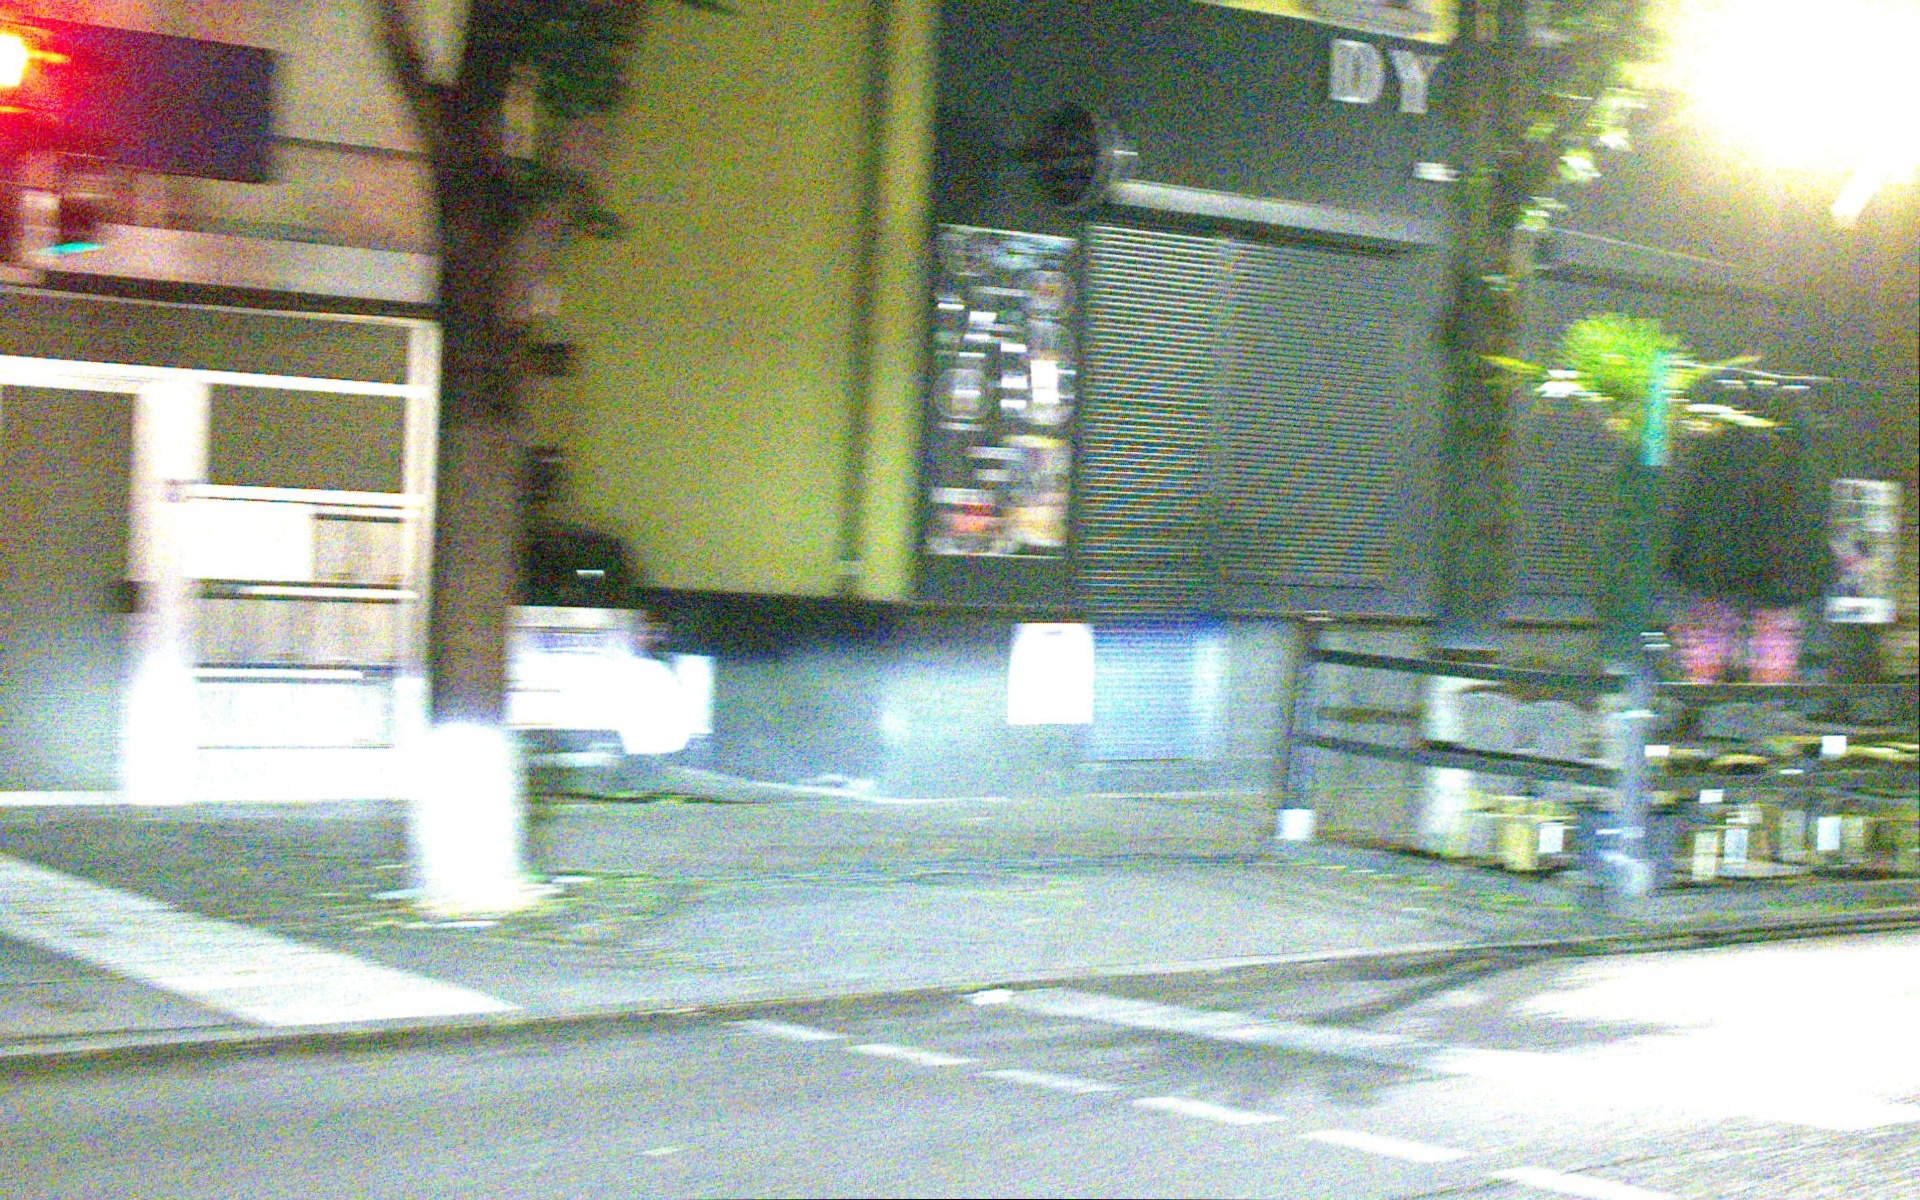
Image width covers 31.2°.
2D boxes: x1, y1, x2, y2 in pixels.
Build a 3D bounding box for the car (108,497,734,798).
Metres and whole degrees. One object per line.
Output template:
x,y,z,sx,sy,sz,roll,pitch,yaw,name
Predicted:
-3.281,0.218,20.381,1.814,1.521,3.999,1,2,-40,car
